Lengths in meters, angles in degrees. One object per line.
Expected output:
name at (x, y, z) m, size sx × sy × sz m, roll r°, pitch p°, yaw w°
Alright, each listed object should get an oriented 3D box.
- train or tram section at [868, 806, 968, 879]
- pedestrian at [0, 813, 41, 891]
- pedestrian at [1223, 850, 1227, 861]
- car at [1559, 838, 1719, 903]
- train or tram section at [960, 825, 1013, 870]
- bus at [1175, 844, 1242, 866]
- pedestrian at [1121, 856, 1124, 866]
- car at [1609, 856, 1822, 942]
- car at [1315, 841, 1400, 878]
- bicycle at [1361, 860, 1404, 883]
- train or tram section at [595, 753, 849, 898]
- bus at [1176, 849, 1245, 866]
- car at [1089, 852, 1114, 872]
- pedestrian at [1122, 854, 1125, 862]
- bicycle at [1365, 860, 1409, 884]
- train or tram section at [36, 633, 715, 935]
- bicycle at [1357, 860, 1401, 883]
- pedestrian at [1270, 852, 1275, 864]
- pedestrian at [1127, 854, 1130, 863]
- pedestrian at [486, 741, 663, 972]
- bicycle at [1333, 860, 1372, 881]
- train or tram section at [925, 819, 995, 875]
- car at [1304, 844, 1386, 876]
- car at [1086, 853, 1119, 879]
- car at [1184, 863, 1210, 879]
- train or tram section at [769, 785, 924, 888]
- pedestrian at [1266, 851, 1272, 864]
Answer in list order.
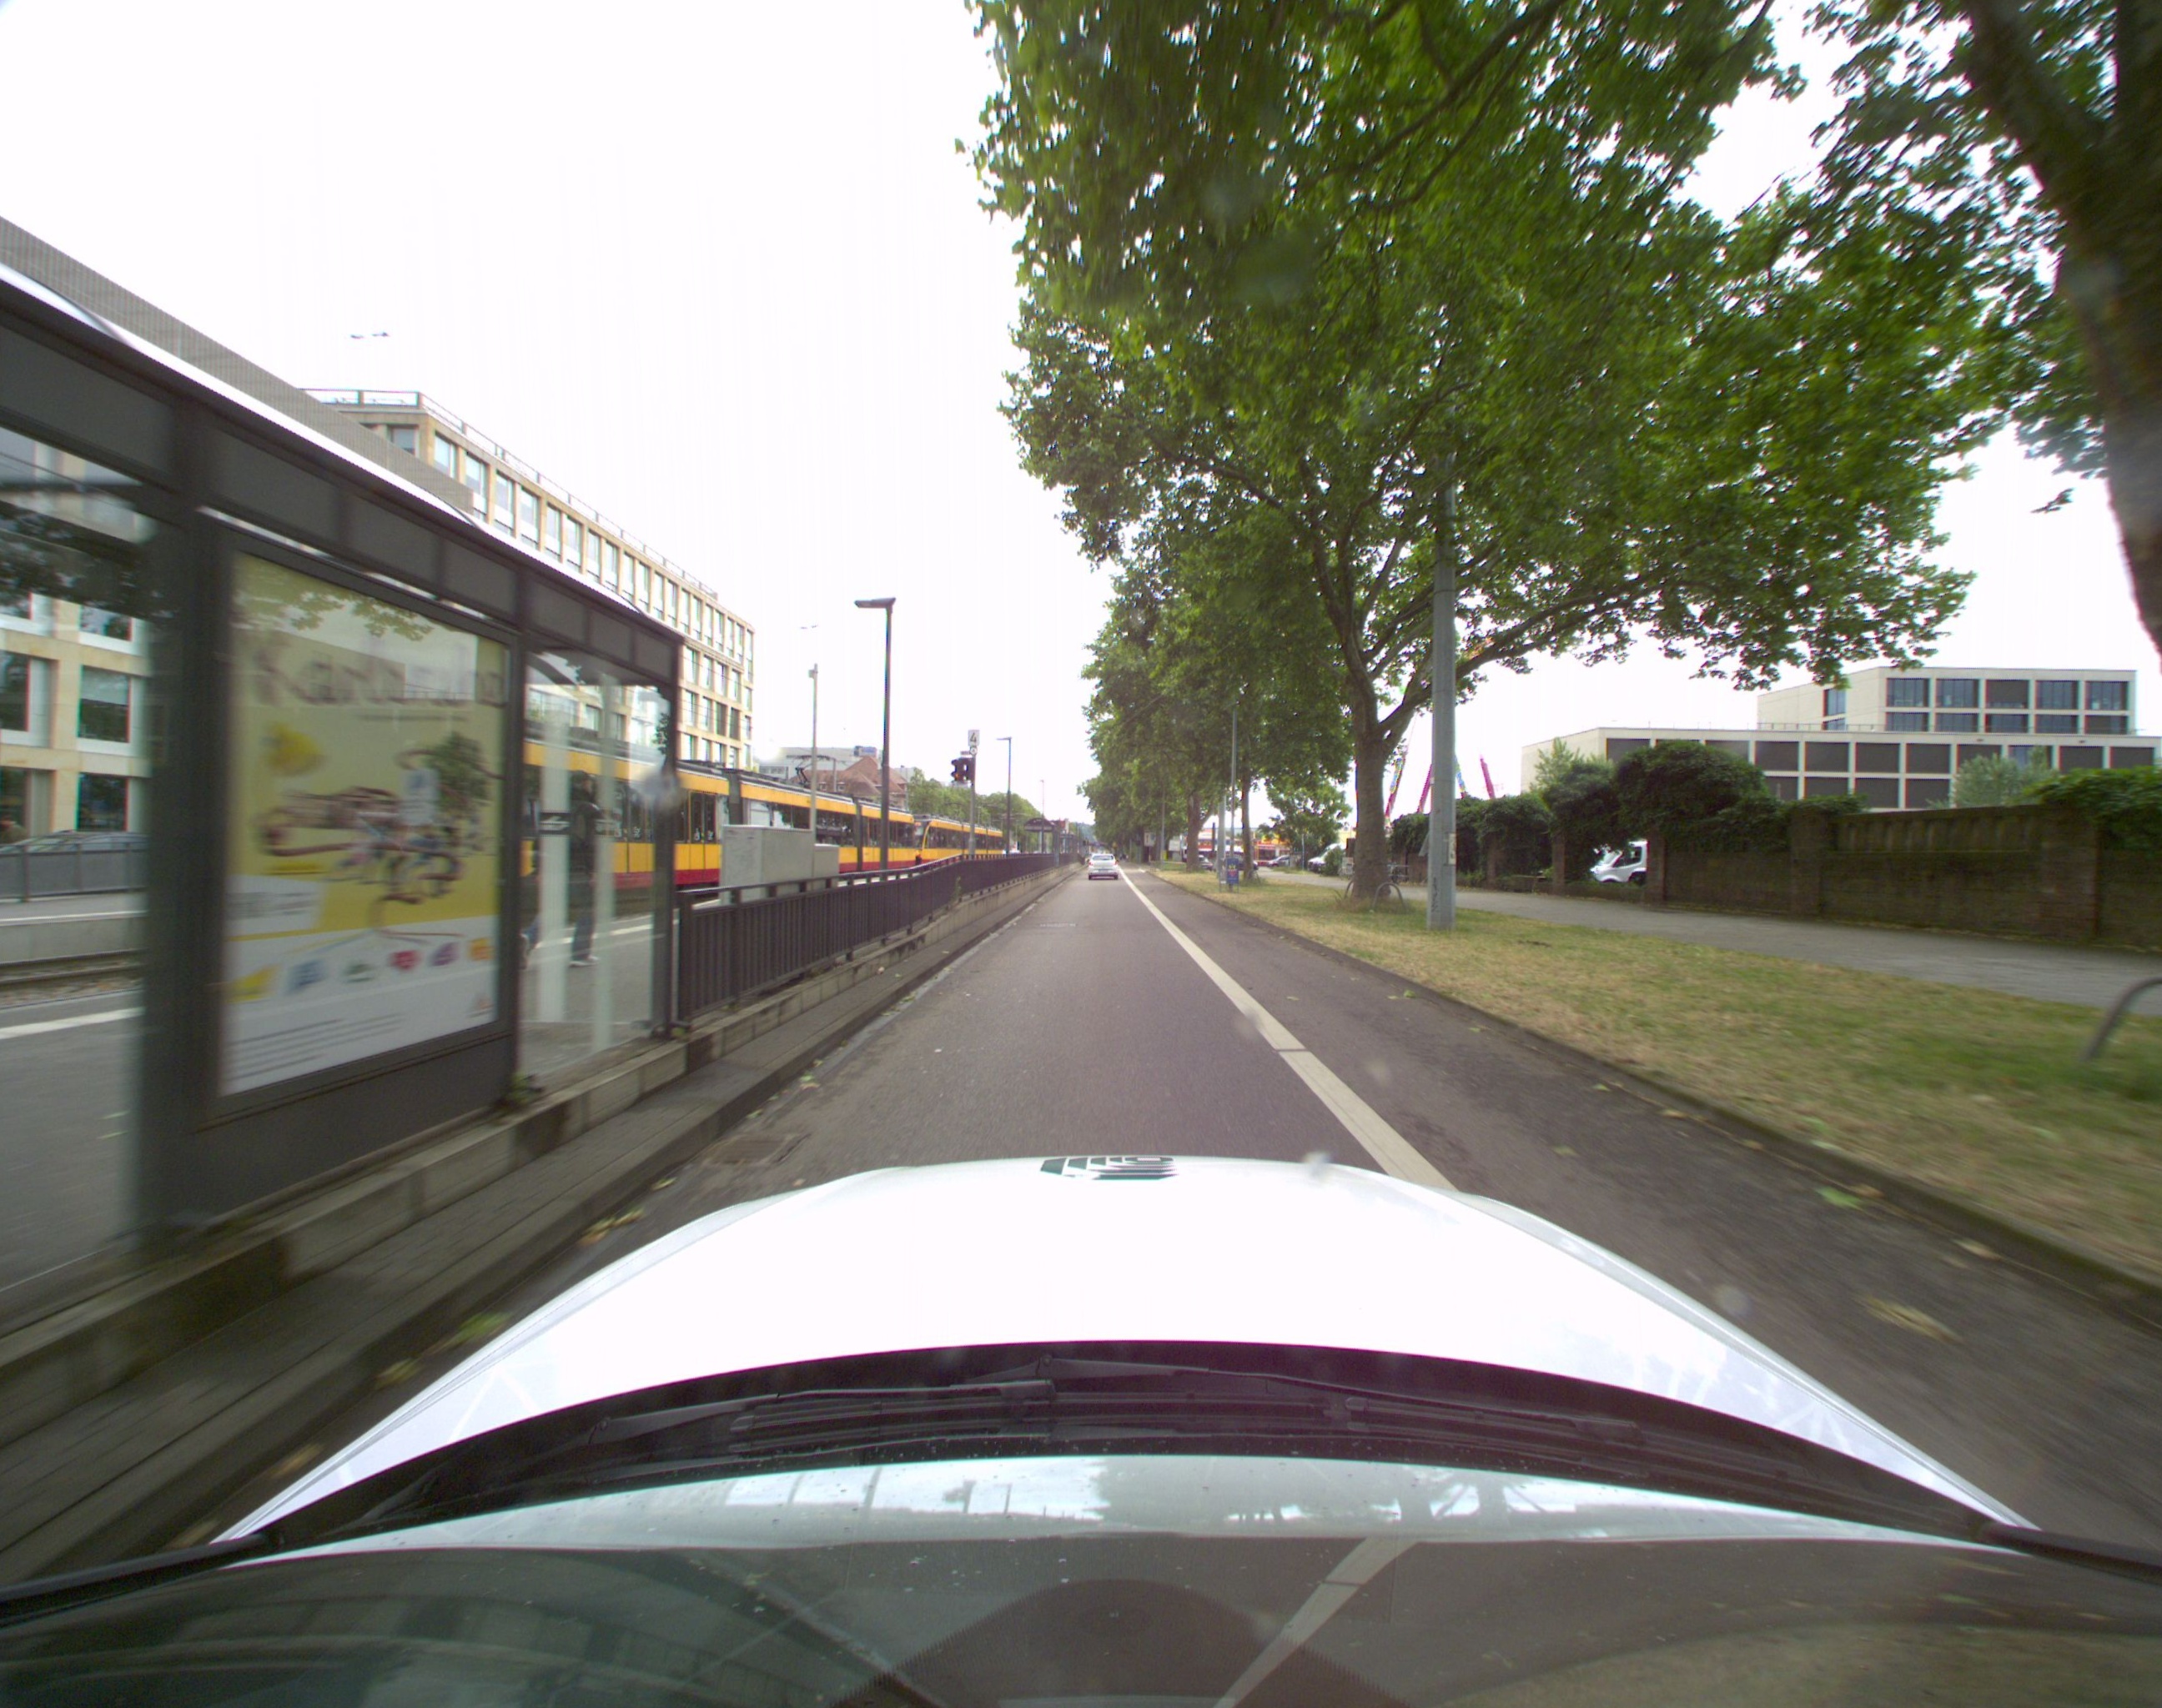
train or tram section at (-10.391, -0.582, 54.196) m, size 3.168 × 4.179 × 14.739 m, roll 1°, pitch -1°, yaw 2°
pedestrian at (-28.095, -0.060, 21.321) m, size 0.710 × 2.014 × 0.725 m, roll 1°, pitch -1°, yaw 0°
pedestrian at (18.932, 0.236, 107.227) m, size 0.491 × 1.463 × 0.523 m, roll 1°, pitch -1°, yaw -1°
car at (21.447, 0.631, 31.391) m, size 5.081 × 2.264 × 1.665 m, roll 2°, pitch -1°, yaw -2°
train or tram section at (-9.478, -0.499, 83.615) m, size 3.168 × 4.179 × 14.739 m, roll 1°, pitch -1°, yaw 2°
bus at (18.169, 0.106, 116.337) m, size 9.251 × 2.960 × 1.999 m, roll 1°, pitch -1°, yaw -2°
pedestrian at (8.294, 1.337, 163.445) m, size 0.393 × 2.014 × 0.404 m, roll 0°, pitch -1°, yaw 17°
car at (20.141, 1.399, 26.005) m, size 5.217 × 2.421 × 2.074 m, roll 3°, pitch -1°, yaw -2°
car at (21.337, 0.403, 63.023) m, size 5.765 × 2.535 × 2.040 m, roll 3°, pitch -1°, yaw 0°
bicycle at (14.594, 0.837, 39.429) m, size 1.894 × 1.097 × 0.549 m, roll -1°, pitch -1°, yaw -1°
train or tram section at (-11.218, -0.709, 27.447) m, size 3.151 × 3.862 × 11.315 m, roll 1°, pitch -1°, yaw 2°
bus at (17.952, 0.495, 113.201) m, size 9.251 × 2.227 × 1.999 m, roll 1°, pitch -1°, yaw -2°
car at (1.634, 0.622, 63.609) m, size 1.833 × 1.552 × 4.003 m, roll 0°, pitch 0°, yaw 3°
pedestrian at (7.374, 0.735, 140.754) m, size 0.393 × 1.444 × 0.565 m, roll 0°, pitch -1°, yaw 14°
bicycle at (14.568, 0.844, 38.849) m, size 1.884 × 1.105 × 0.549 m, roll -1°, pitch -1°, yaw -1°
train or tram section at (-11.611, -0.853, 16.132) m, size 3.225 × 3.862 × 11.315 m, roll 1°, pitch -1°, yaw 2°
bicycle at (14.672, 0.848, 40.066) m, size 1.968 × 1.095 × 0.549 m, roll -1°, pitch -1°, yaw -1°
pedestrian at (25.629, 0.558, 109.113) m, size 0.523 × 1.687 × 0.492 m, roll 1°, pitch -1°, yaw -15°
pedestrian at (8.136, 0.779, 140.768) m, size 0.393 × 1.585 × 0.540 m, roll 0°, pitch -1°, yaw 13°
pedestrian at (-4.660, 0.019, 7.566) m, size 1.054 × 2.014 × 0.840 m, roll 1°, pitch -1°, yaw 1°
bicycle at (14.659, 0.877, 44.009) m, size 1.915 × 1.091 × 0.549 m, roll -1°, pitch -1°, yaw -1°
train or tram section at (-9.938, -0.425, 68.937) m, size 3.168 × 4.179 × 14.739 m, roll 1°, pitch -1°, yaw 2°
car at (21.472, 0.482, 66.446) m, size 6.004 × 2.555 × 2.099 m, roll 1°, pitch -1°, yaw -1°
car at (1.322, 0.708, 48.560) m, size 1.878 × 1.453 × 4.002 m, roll 1°, pitch -1°, yaw 2°
car at (11.325, 1.635, 79.774) m, size 1.858 × 1.430 × 3.996 m, roll 1°, pitch -1°, yaw -3°
train or tram section at (-10.861, -0.644, 39.973) m, size 3.168 × 4.179 × 13.625 m, roll 1°, pitch -1°, yaw 2°
pedestrian at (25.096, 0.471, 108.765) m, size 0.523 × 1.687 × 0.492 m, roll 1°, pitch -1°, yaw -15°
